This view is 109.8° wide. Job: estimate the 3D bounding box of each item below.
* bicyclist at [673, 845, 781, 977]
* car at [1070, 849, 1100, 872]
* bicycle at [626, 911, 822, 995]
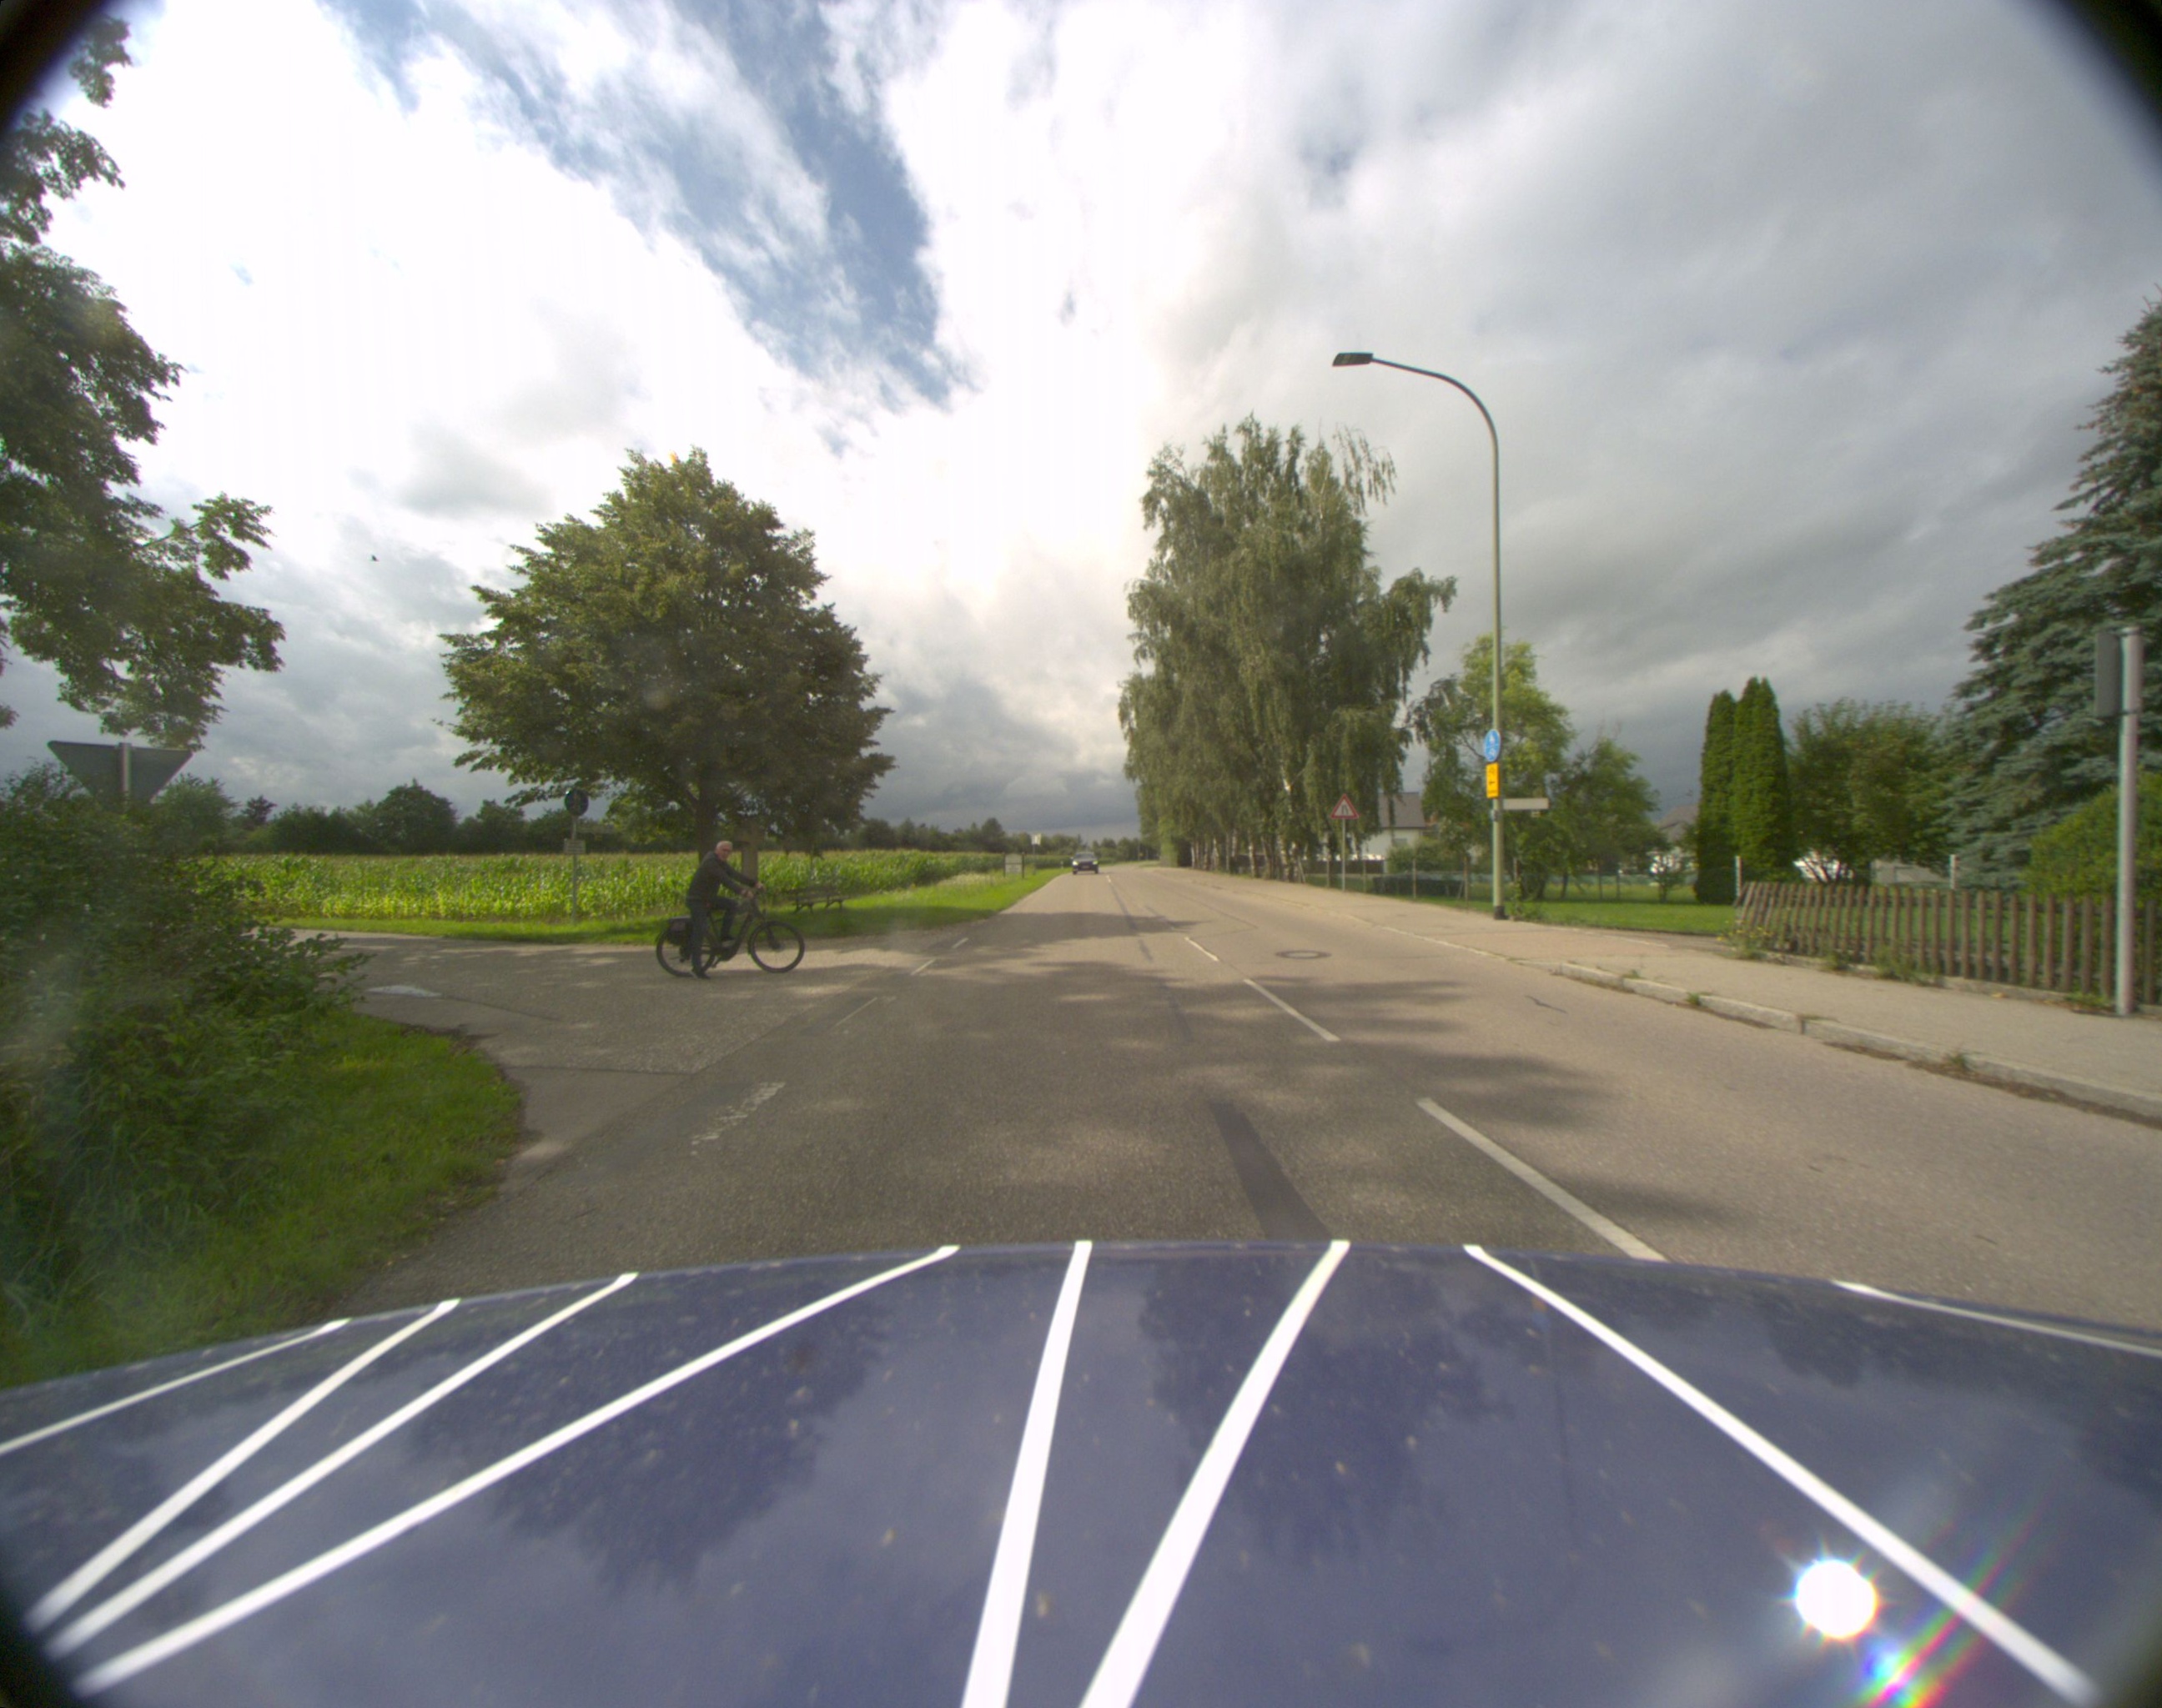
[{"bbox_3d":[-4.580,0.699,9.938,1.021,1.576,1.053,-2,1,-14],"label":"bicyclist"},{"bbox_3d":[0.337,0.451,56.118,1.998,1.594,4.001,-1,0,4],"label":"car"},{"bbox_3d":[-4.570,1.254,9.941,2.123,0.859,1.053,-2,0,-13],"label":"bicycle"}]
